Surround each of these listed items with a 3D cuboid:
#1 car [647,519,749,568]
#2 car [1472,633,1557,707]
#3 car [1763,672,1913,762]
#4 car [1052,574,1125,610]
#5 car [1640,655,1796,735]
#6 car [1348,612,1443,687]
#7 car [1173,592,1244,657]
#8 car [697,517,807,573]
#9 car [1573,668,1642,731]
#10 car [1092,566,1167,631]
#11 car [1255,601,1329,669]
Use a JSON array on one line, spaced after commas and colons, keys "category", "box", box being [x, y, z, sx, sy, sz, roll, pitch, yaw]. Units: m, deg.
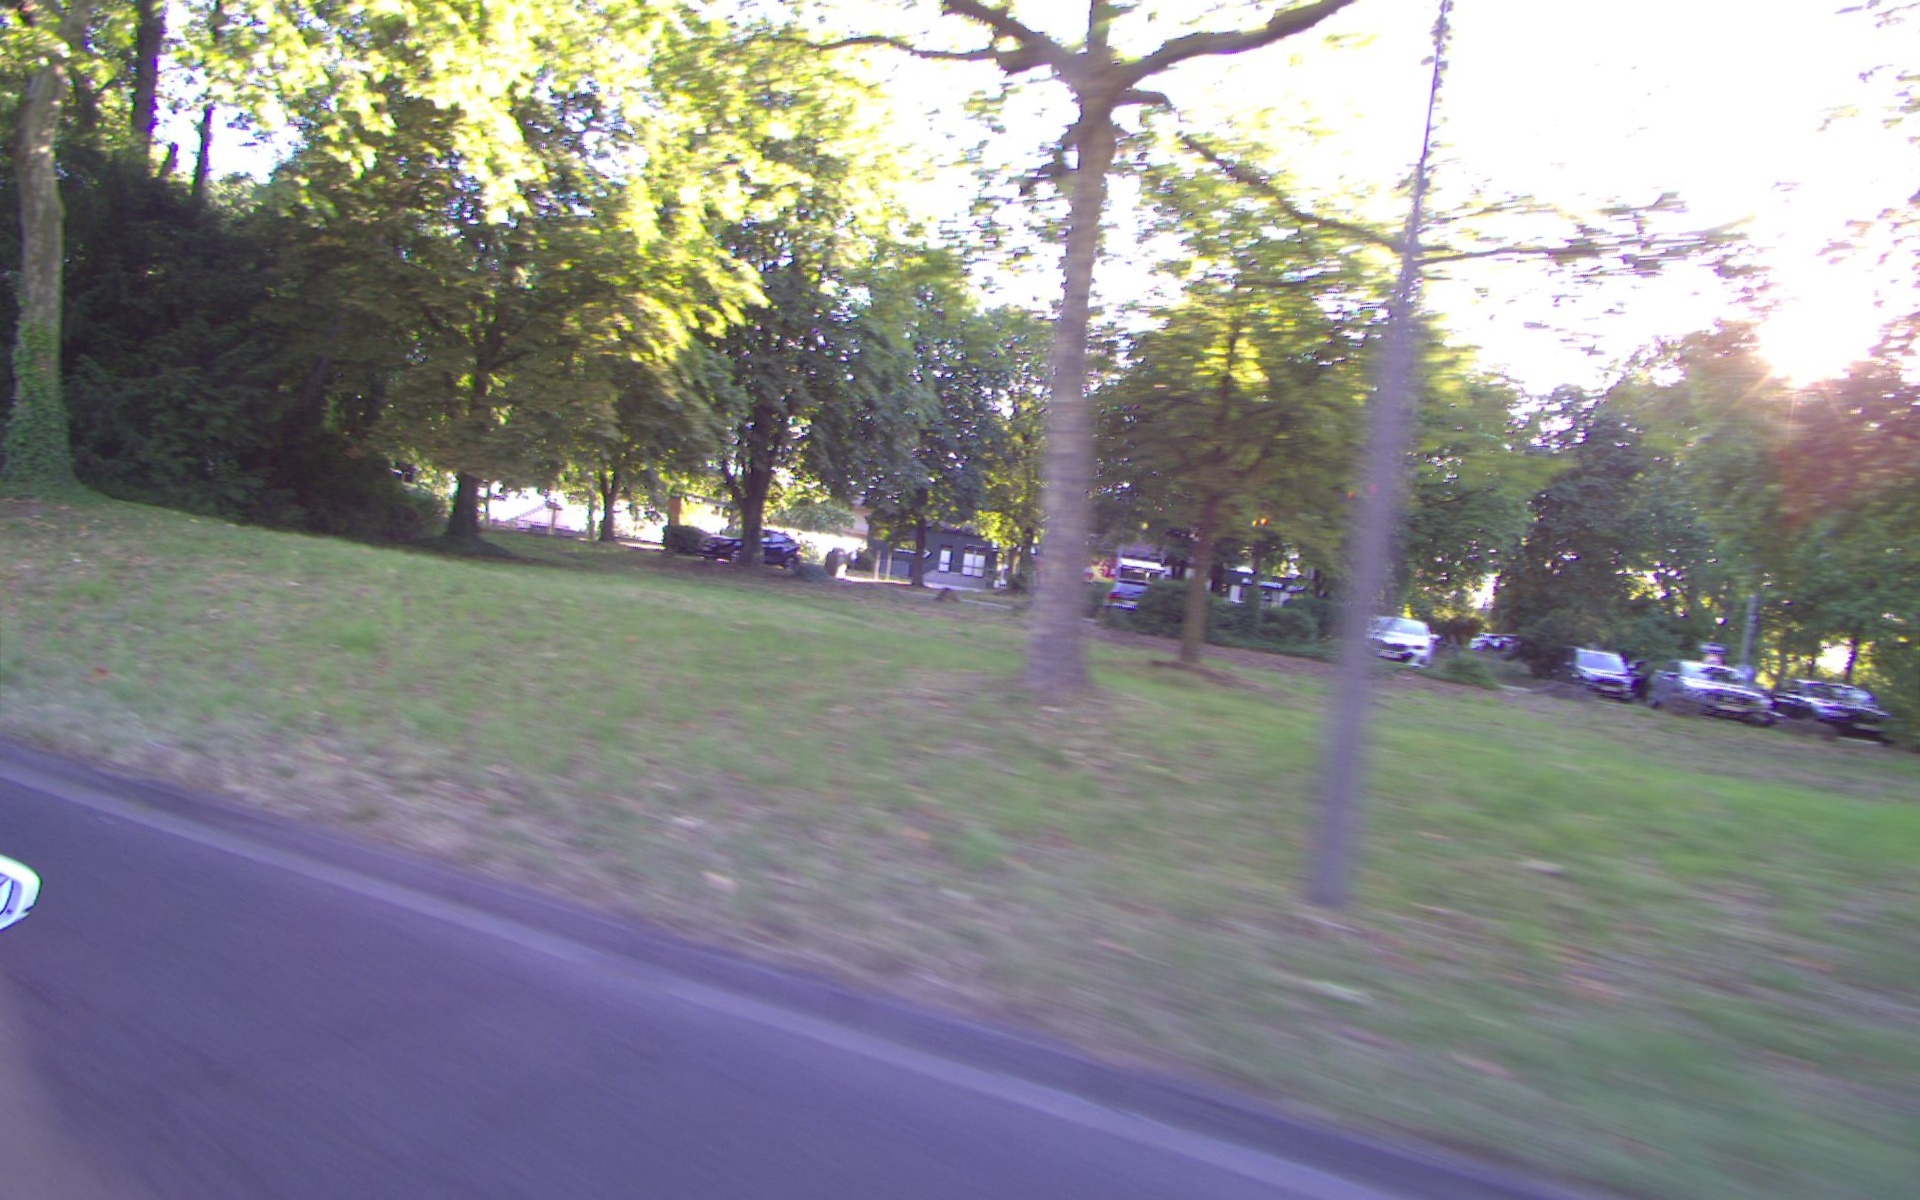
[{"category": "car", "box": [-11.462, -2.466, 44.227, 1.780, 1.571, 3.985, 7, 0, 37]}, {"category": "car", "box": [15.624, 1.951, 28.477, 1.649, 1.752, 3.499, 7, 1, 25]}, {"category": "car", "box": [21.411, 2.777, 24.702, 1.649, 1.752, 3.499, 7, 1, 25]}, {"category": "car", "box": [7.357, -0.454, 57.976, 3.924, 1.571, 1.808, 7, 1, 5]}, {"category": "car", "box": [19.235, 2.336, 25.776, 2.006, 1.593, 4.399, 7, 0, 23]}, {"category": "car", "box": [12.451, 1.406, 28.579, 1.965, 1.728, 4.892, 7, 1, 28]}, {"category": "car", "box": [7.880, 0.775, 31.657, 1.793, 1.709, 4.225, 7, 0, 16]}, {"category": "car", "box": [-7.780, -2.026, 37.972, 1.776, 1.571, 3.994, 7, 0, 28]}, {"category": "car", "box": [21.429, 3.254, 33.381, 1.651, 1.752, 3.494, 8, 1, 32]}, {"category": "car", "box": [5.377, 0.015, 31.517, 1.793, 1.709, 4.226, 7, 0, 15]}, {"category": "car", "box": [10.043, 1.055, 30.320, 1.794, 1.709, 4.224, 7, 0, 20]}]
